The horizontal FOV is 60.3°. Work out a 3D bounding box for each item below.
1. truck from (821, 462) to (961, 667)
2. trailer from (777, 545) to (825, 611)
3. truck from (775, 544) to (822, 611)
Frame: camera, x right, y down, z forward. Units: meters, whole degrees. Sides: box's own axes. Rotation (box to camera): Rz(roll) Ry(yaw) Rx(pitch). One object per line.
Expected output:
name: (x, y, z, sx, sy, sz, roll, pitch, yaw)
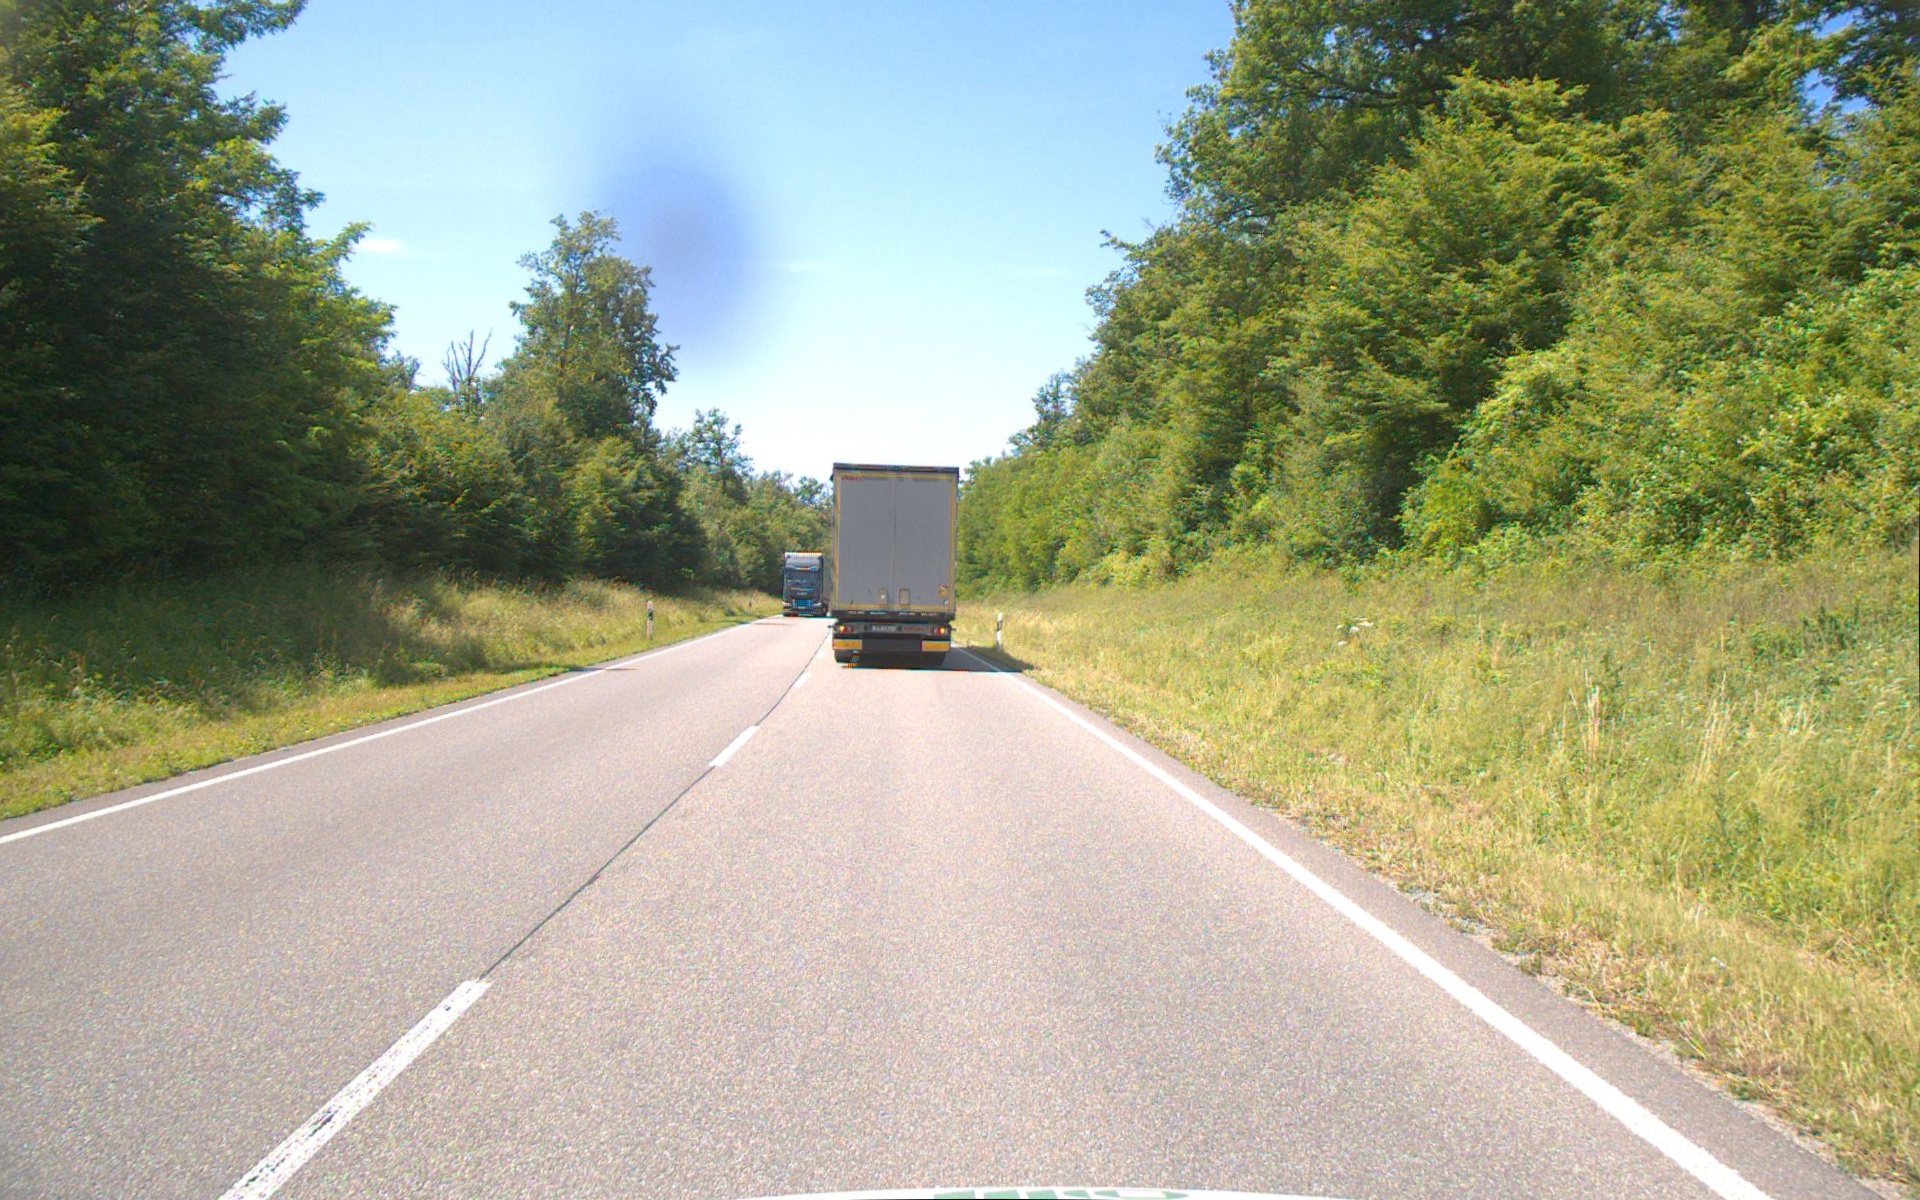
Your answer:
truck: (-1.722, -0.740, 38.855, 2.706, 4.016, 12.189, 1, 0, -3)
trailer: (-10.934, -1.495, 114.709, 2.883, 4.327, 13.609, 0, 0, -4)
truck: (-10.479, -1.459, 107.836, 2.865, 4.289, 5.339, 0, 0, -4)
